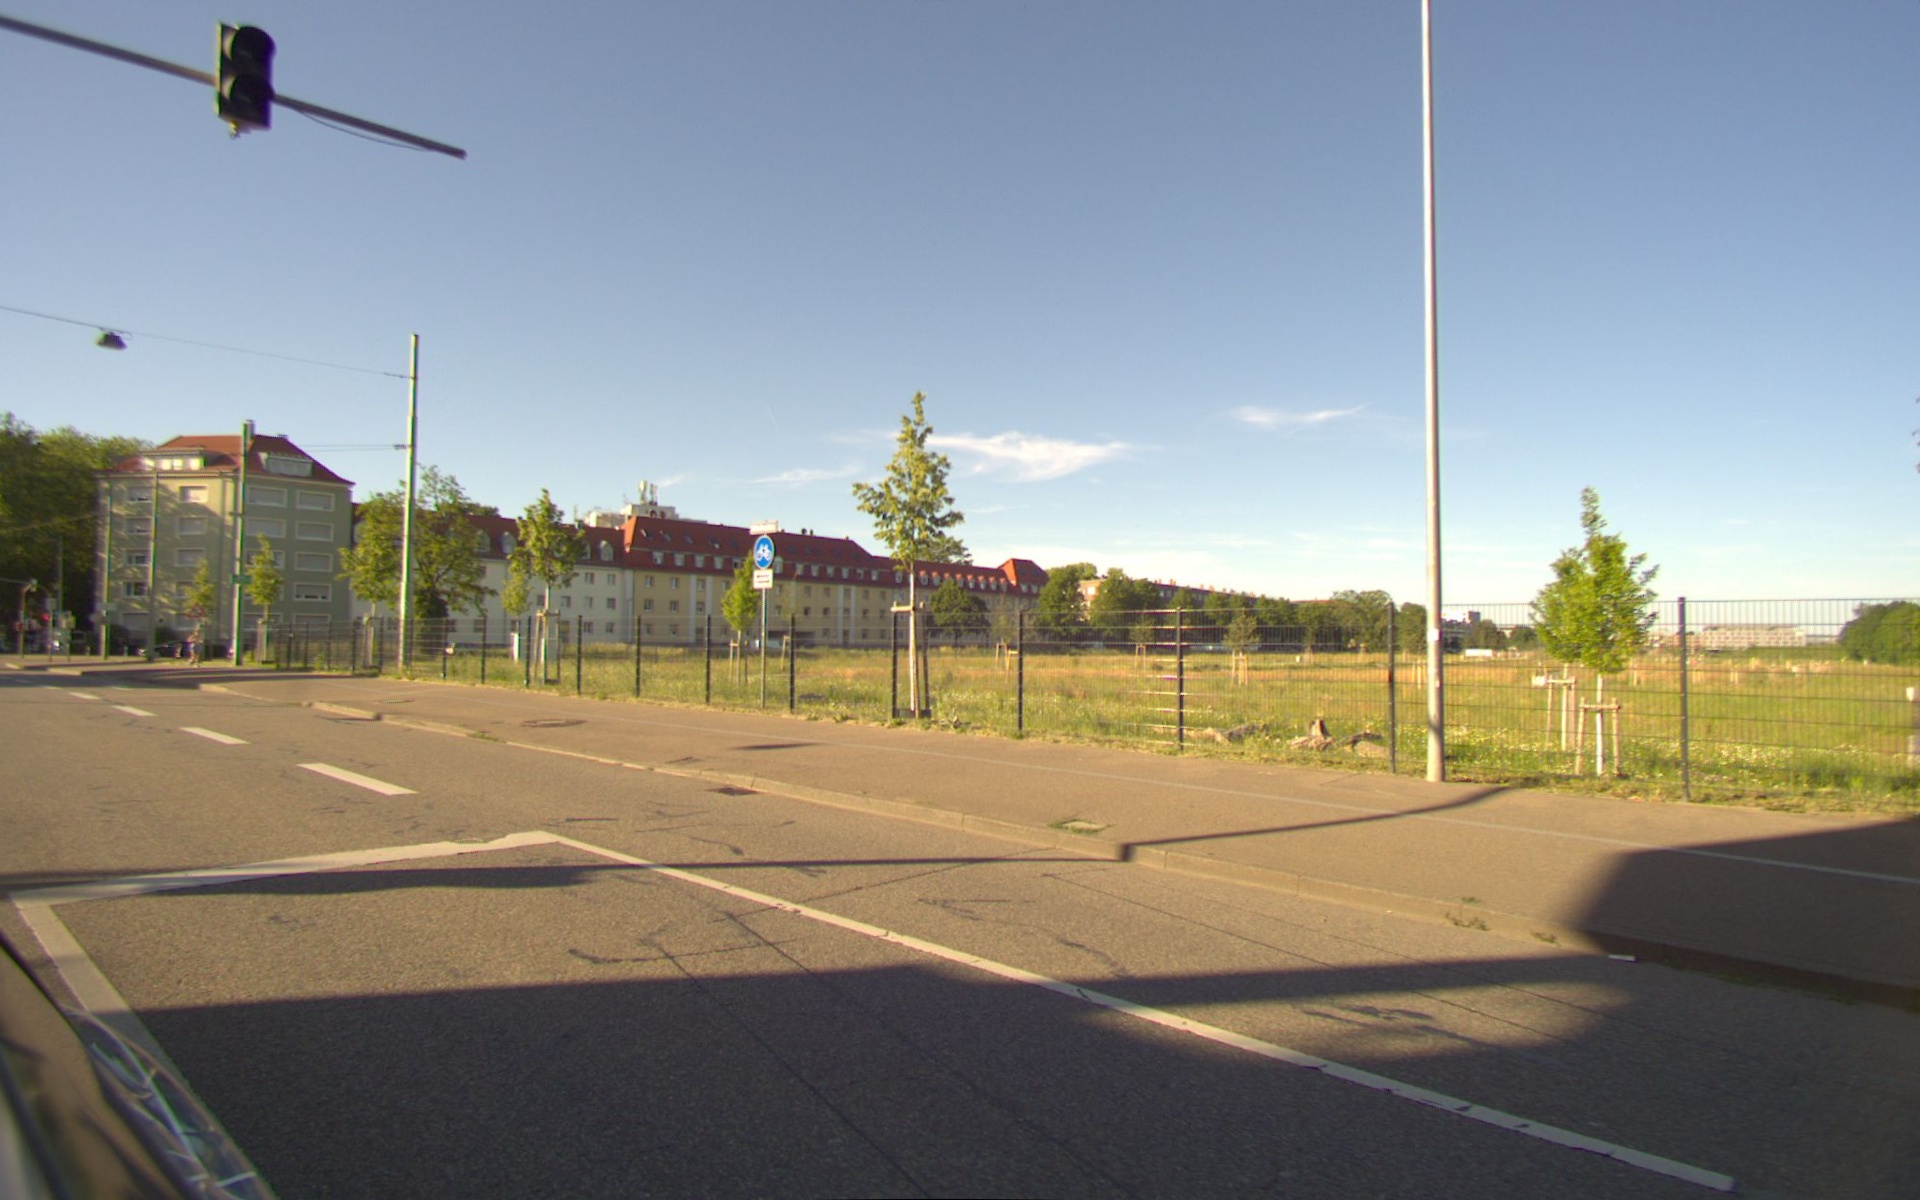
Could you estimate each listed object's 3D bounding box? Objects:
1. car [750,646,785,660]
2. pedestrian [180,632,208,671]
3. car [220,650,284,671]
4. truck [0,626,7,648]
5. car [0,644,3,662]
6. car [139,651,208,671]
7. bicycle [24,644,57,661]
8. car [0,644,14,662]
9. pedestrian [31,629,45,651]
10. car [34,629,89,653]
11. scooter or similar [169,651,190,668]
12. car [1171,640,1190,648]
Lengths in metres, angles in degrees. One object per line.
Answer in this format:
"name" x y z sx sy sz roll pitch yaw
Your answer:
"car" -22.736 6.252 119.418 1.698 1.542 3.851 -7 -7 38
"pedestrian" -33.075 2.232 43.704 1.181 1.642 0.823 -3 -2 44
"car" -56.602 4.873 80.940 1.698 1.542 3.851 -7 -7 38
"truck" -132.241 5.142 137.419 2.304 2.995 8.057 0 -1 -30
"car" -92.458 4.994 94.518 4.078 1.653 1.780 0 -1 -27
"car" -64.456 5.008 82.985 1.942 1.505 4.148 -5 -6 42
"bicycle" -84.240 4.786 92.743 2.017 1.473 0.728 3 -1 -19
"car" -93.208 5.045 96.494 4.078 1.653 1.780 0 -1 -27
"pedestrian" -85.230 3.681 93.555 0.685 1.978 0.930 0 -1 -19
"car" -103.376 4.735 116.511 4.345 2.647 1.976 0 -1 -27
"scooter or similar" -56.791 4.334 73.631 0.586 1.153 1.268 1 -8 -8
"car" 44.385 8.899 204.012 1.942 1.505 4.148 -5 -6 42
